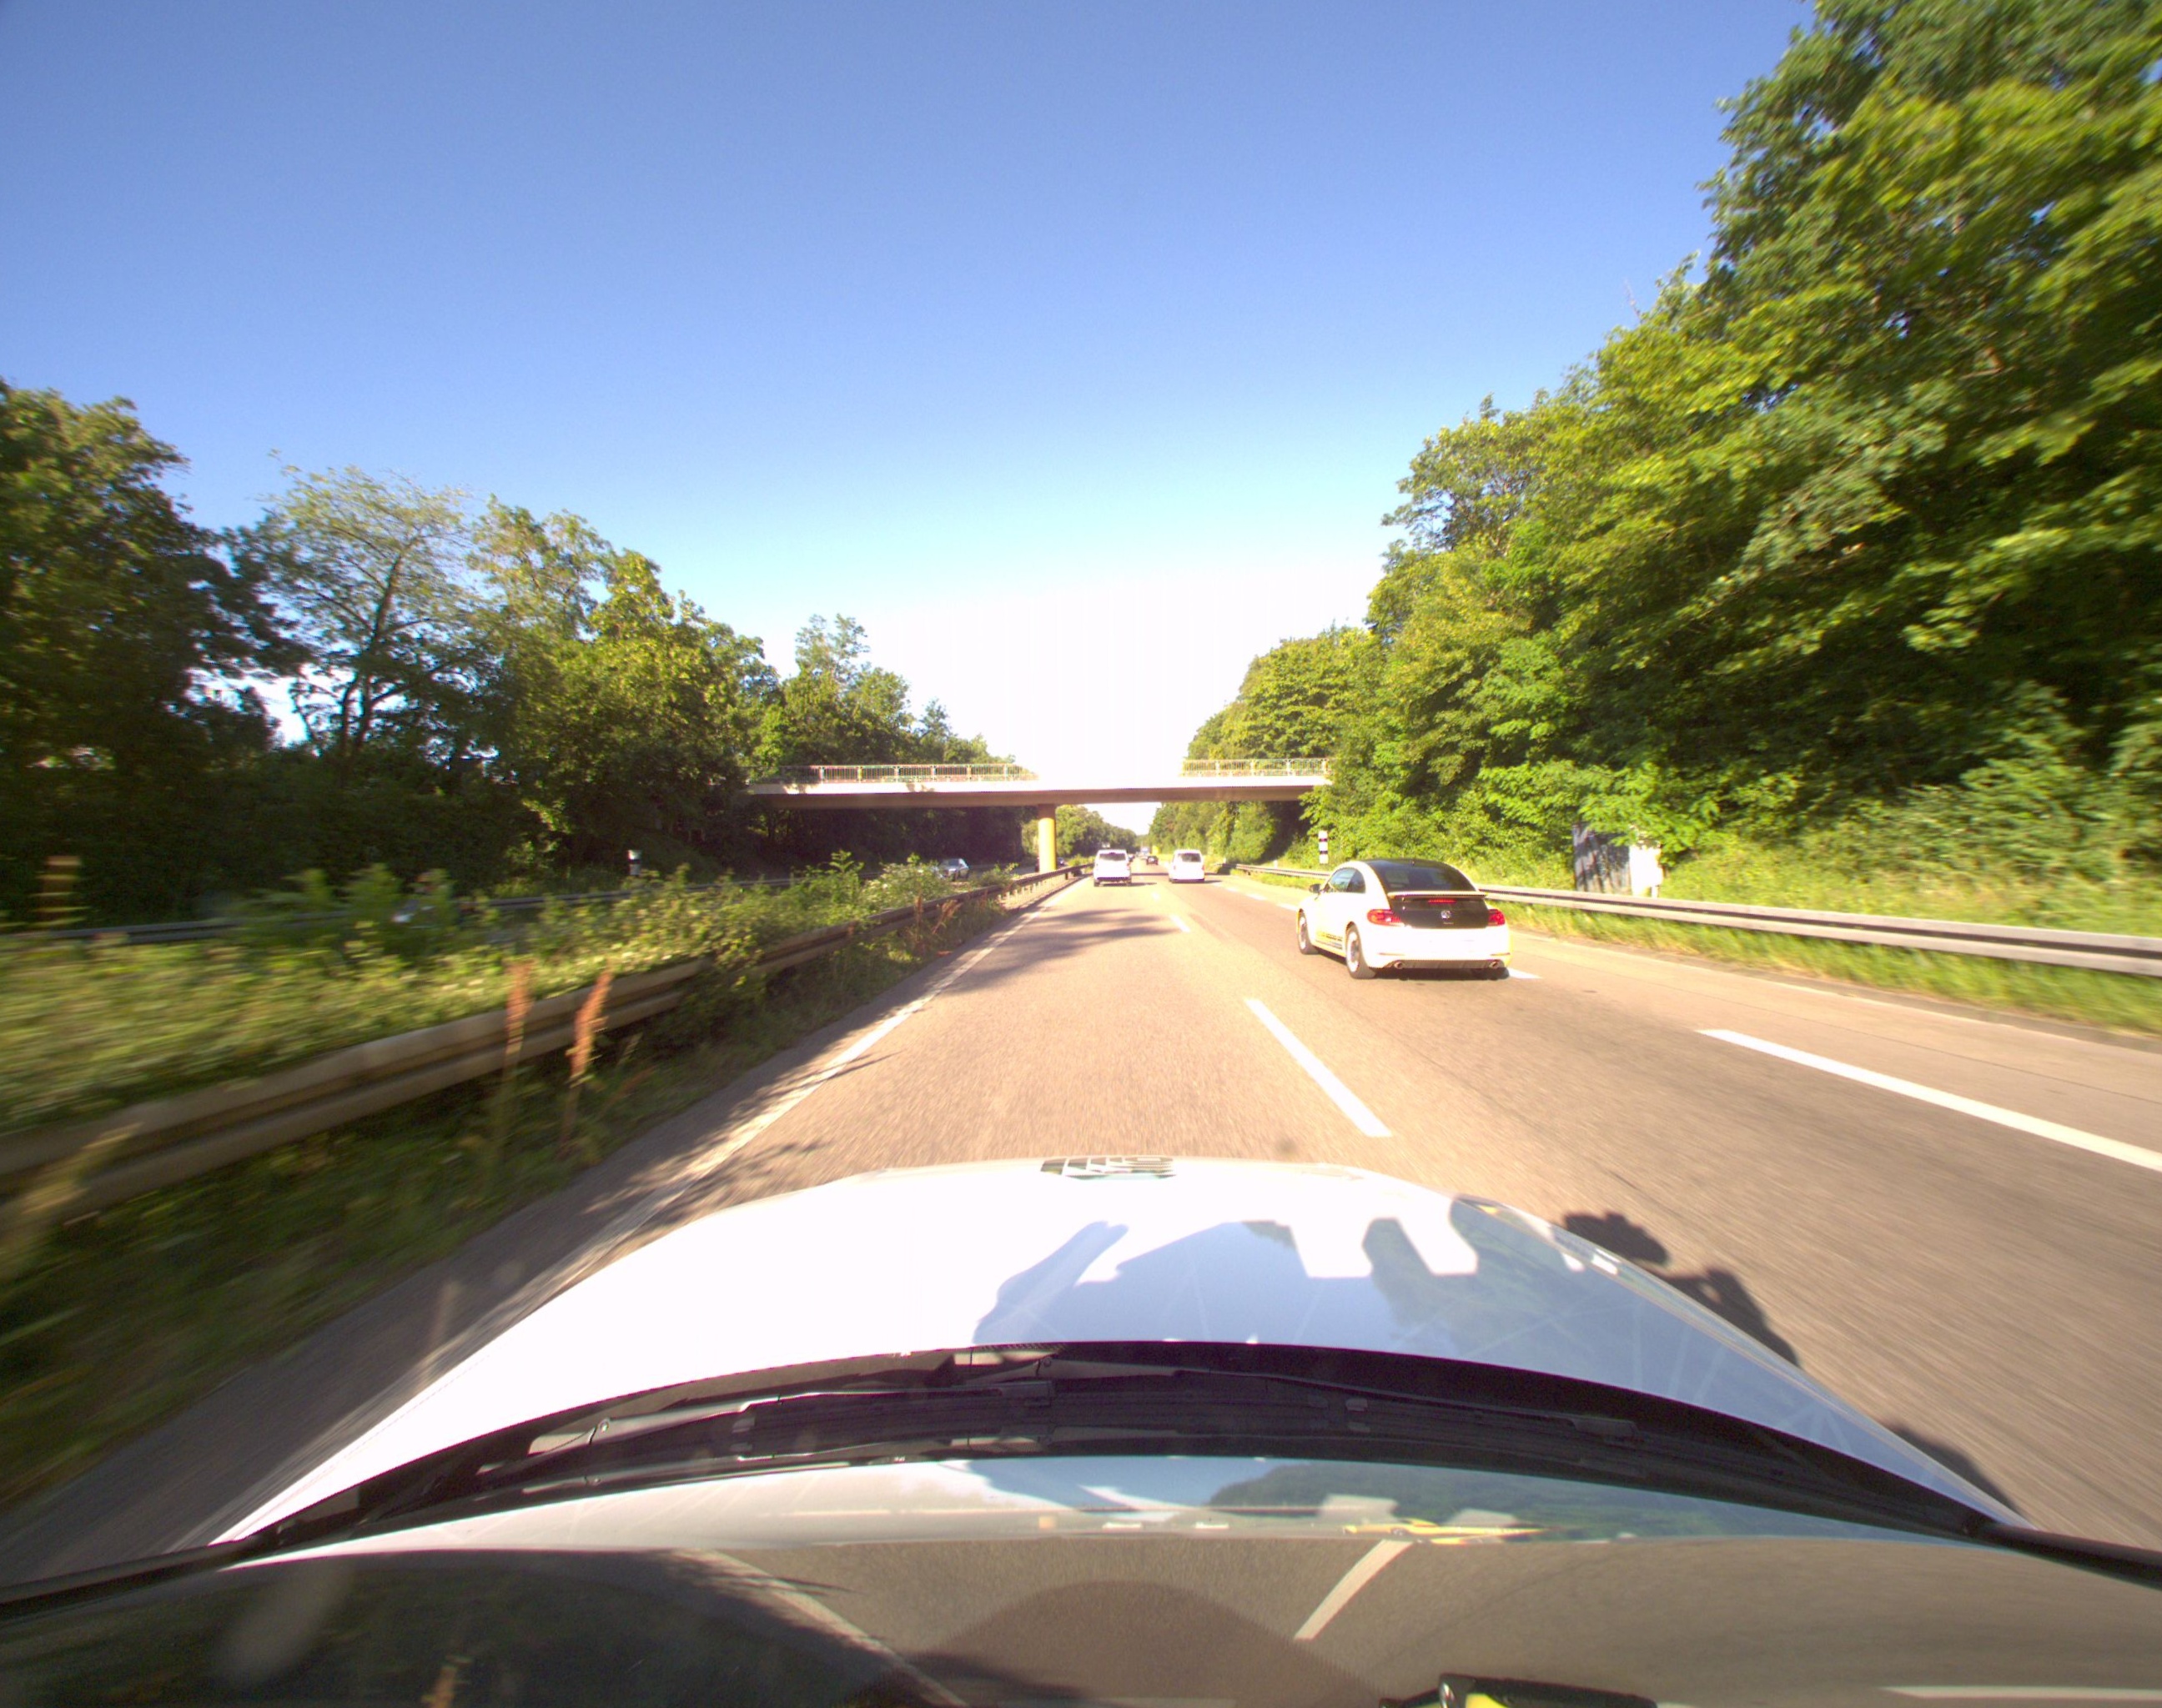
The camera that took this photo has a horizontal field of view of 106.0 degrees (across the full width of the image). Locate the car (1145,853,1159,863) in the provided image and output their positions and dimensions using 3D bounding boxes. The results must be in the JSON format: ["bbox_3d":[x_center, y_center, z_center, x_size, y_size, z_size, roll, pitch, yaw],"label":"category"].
[{"bbox_3d":[10.754,0.601,123.496,1.985,1.398,4.004,-1,0,4],"label":"car"}]

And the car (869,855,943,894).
[{"bbox_3d":[-7.287,0.820,34.350,1.844,1.489,4.788,-2,0,2],"label":"car"}]

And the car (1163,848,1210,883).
[{"bbox_3d":[5.714,0.582,44.583,1.858,1.770,4.468,-2,0,-1],"label":"car"}]

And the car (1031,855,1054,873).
[{"bbox_3d":[-4.031,1.027,85.795,1.953,1.724,4.595,-2,0,3],"label":"car"}]

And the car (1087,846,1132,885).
[{"bbox_3d":[1.360,0.548,40.702,2.078,1.828,4.000,-1,0,0],"label":"car"}]

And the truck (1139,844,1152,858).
[{"bbox_3d":[19.526,-0.972,246.580,3.480,4.173,8.870,-1,0,4],"label":"truck"}]

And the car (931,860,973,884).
[{"bbox_3d":[-9.564,1.314,60.863,1.952,1.659,5.045,-2,0,4],"label":"car"}]

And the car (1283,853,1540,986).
[{"bbox_3d":[4.232,0.731,11.272,1.873,1.461,4.357,0,0,1],"label":"car"}]

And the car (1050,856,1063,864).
[{"bbox_3d":[-4.318,1.050,145.077,1.953,1.450,4.587,0,0,3],"label":"car"}]
